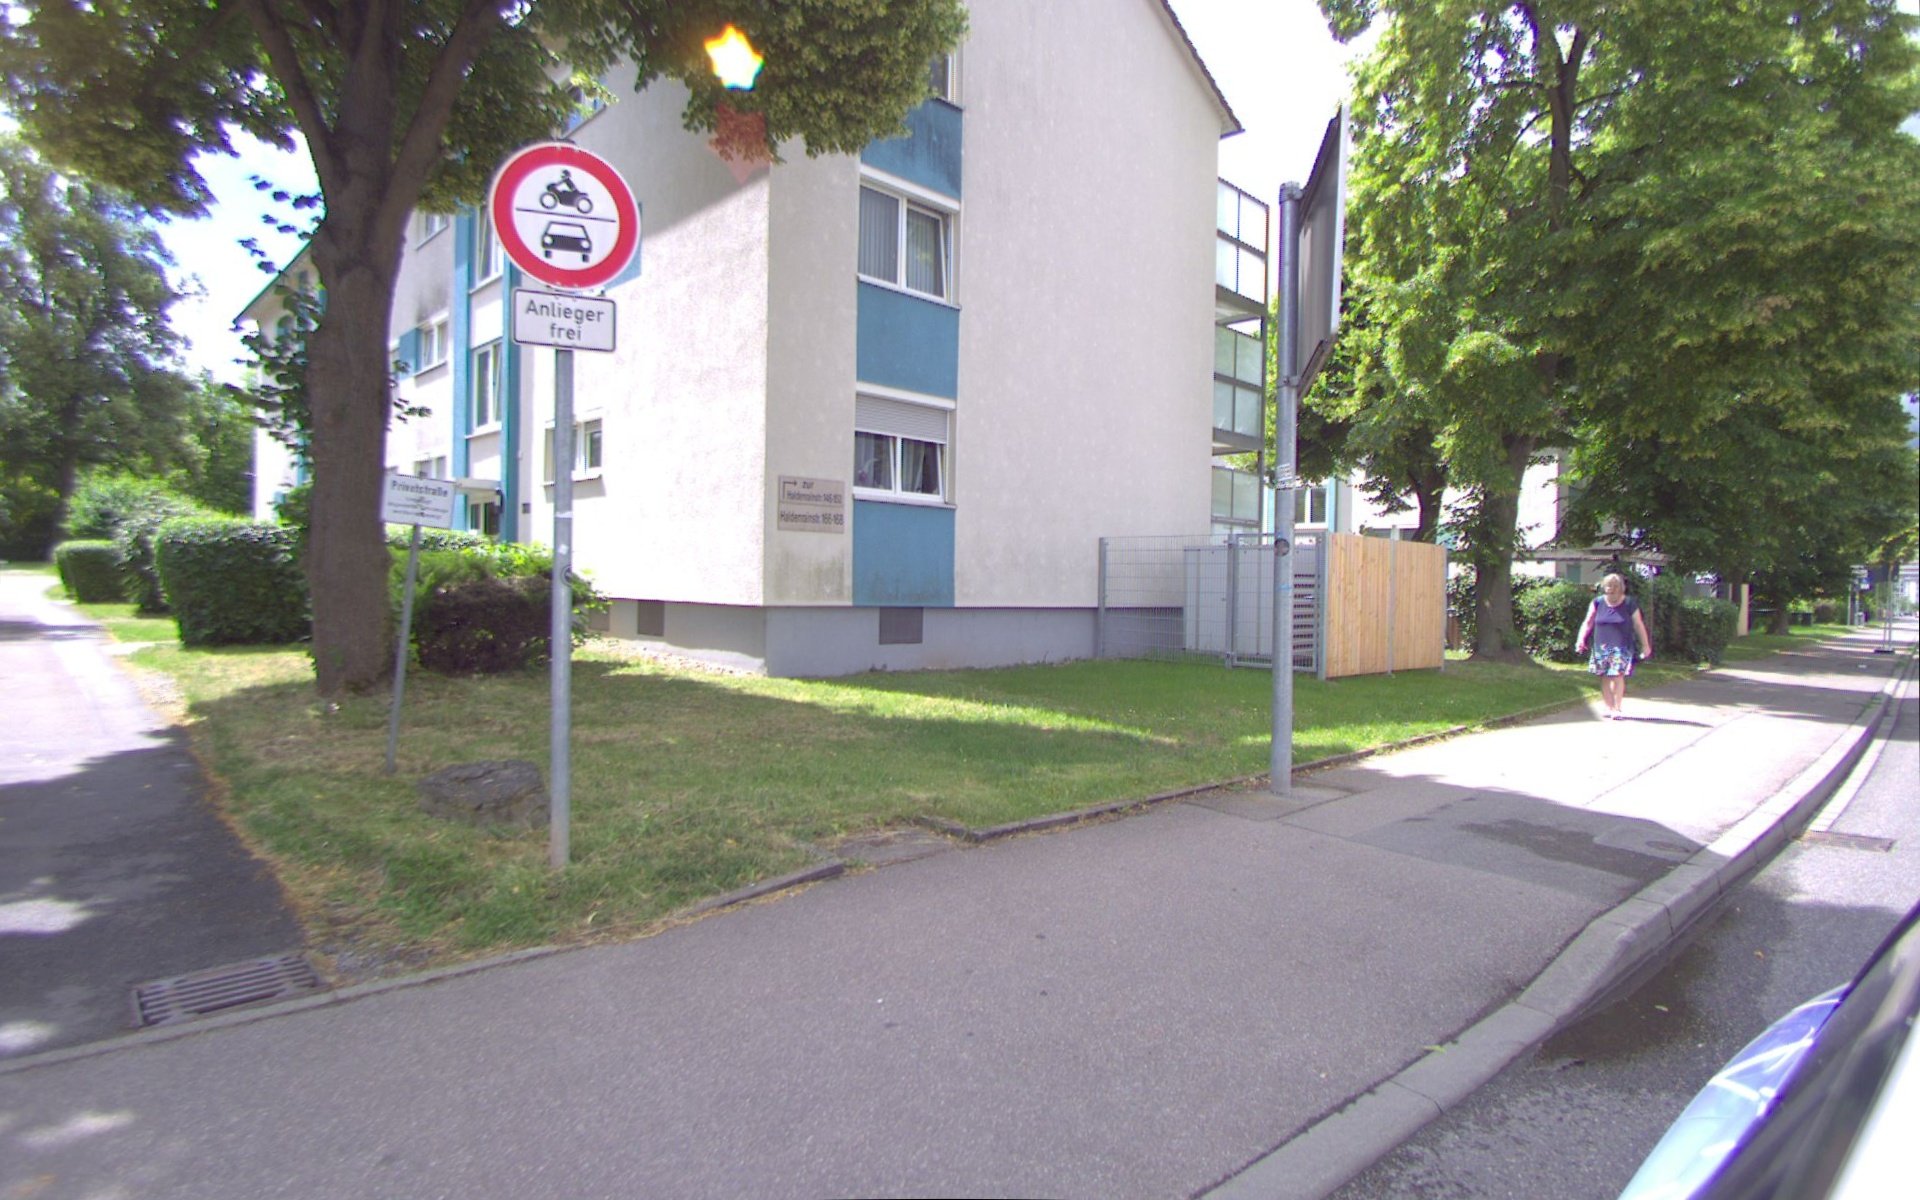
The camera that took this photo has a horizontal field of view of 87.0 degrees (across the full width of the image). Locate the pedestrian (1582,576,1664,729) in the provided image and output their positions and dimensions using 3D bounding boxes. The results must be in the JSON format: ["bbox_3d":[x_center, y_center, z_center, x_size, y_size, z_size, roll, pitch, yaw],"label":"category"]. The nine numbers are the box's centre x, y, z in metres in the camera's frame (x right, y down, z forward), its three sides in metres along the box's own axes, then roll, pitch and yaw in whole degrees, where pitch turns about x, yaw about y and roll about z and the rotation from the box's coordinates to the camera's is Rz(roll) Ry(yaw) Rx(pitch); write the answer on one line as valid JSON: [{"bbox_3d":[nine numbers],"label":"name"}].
[{"bbox_3d":[7.671,0.580,11.706,0.681,1.681,0.819,2,-1,40],"label":"pedestrian"}]
